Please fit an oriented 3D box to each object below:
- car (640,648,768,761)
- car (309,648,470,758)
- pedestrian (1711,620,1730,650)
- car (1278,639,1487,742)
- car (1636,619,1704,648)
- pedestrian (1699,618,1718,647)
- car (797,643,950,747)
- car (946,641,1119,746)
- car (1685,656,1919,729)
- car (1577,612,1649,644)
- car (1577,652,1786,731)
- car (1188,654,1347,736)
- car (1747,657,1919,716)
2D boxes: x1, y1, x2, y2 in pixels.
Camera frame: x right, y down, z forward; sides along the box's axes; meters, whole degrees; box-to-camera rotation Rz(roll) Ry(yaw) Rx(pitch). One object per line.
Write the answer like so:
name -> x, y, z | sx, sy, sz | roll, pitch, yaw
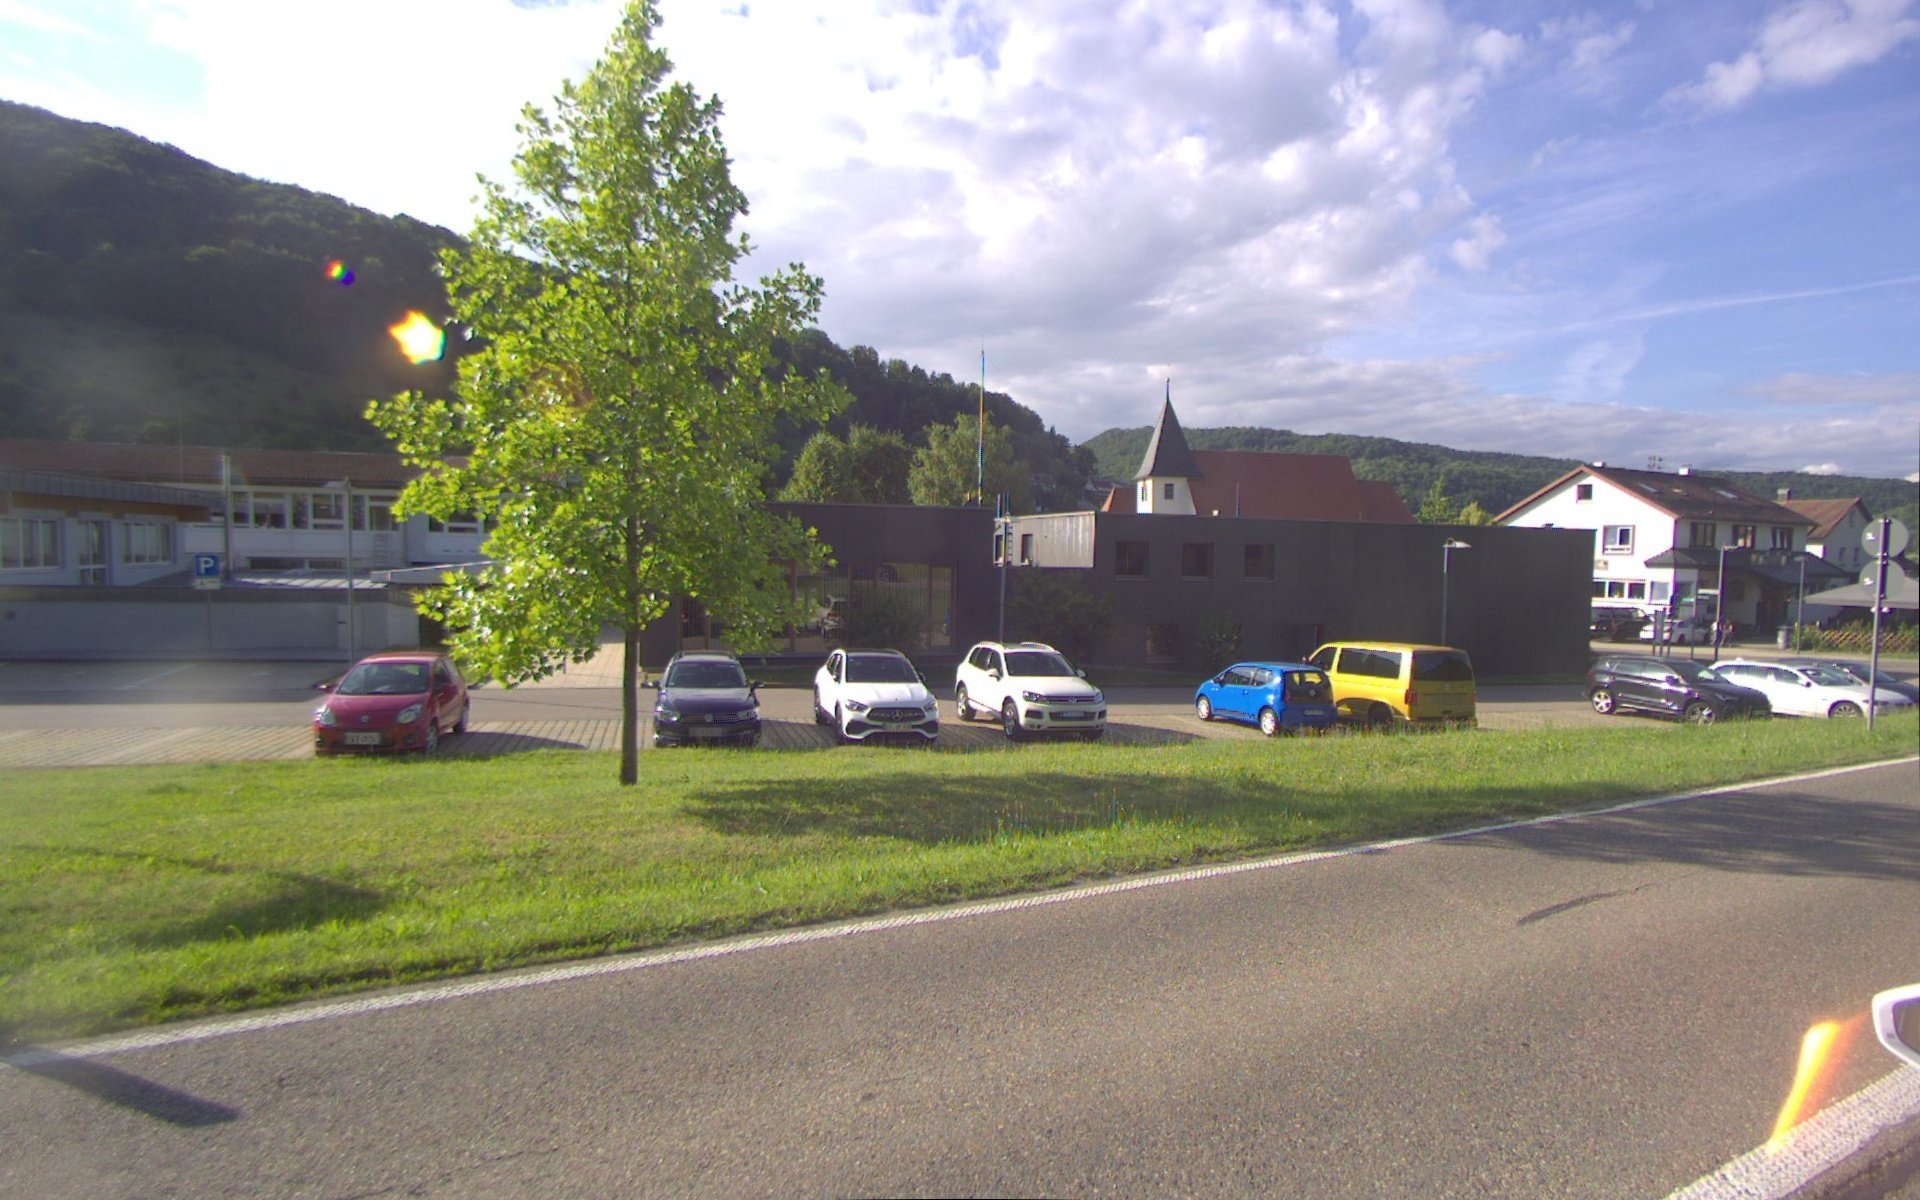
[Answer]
car -> -4.859, 1.818, 18.616 | 1.969, 1.575, 4.535 | 2, 0, -18
car -> -9.383, 1.624, 16.816 | 1.590, 1.416, 3.718 | 2, 0, -18
pedestrian -> 39.984, 1.842, 52.822 | 0.583, 1.523, 0.605 | 2, 0, -30
car -> 9.416, 1.962, 22.870 | 1.967, 1.893, 4.611 | 2, 0, -15
car -> 38.749, 1.812, 54.780 | 3.954, 1.469, 1.548 | 2, 0, -31
pedestrian -> 39.870, 1.727, 53.526 | 0.583, 1.523, 0.605 | 2, 0, -30
car -> -1.837, 1.751, 19.665 | 1.969, 1.575, 4.535 | 2, 0, -18
car -> 1.349, 1.833, 20.861 | 1.969, 1.725, 4.535 | 2, 0, -18
car -> 22.958, 2.459, 27.557 | 1.851, 1.513, 4.810 | 2, 0, -18
car -> 37.022, 1.568, 56.928 | 3.954, 1.684, 1.877 | 2, 0, -31
car -> 18.631, 2.301, 26.171 | 1.969, 1.659, 4.021 | 2, 0, -18
car -> 6.796, 2.062, 22.535 | 1.608, 1.492, 3.488 | 2, 0, -20
car -> 25.437, 2.425, 28.962 | 1.735, 1.327, 3.978 | 2, 0, -22
